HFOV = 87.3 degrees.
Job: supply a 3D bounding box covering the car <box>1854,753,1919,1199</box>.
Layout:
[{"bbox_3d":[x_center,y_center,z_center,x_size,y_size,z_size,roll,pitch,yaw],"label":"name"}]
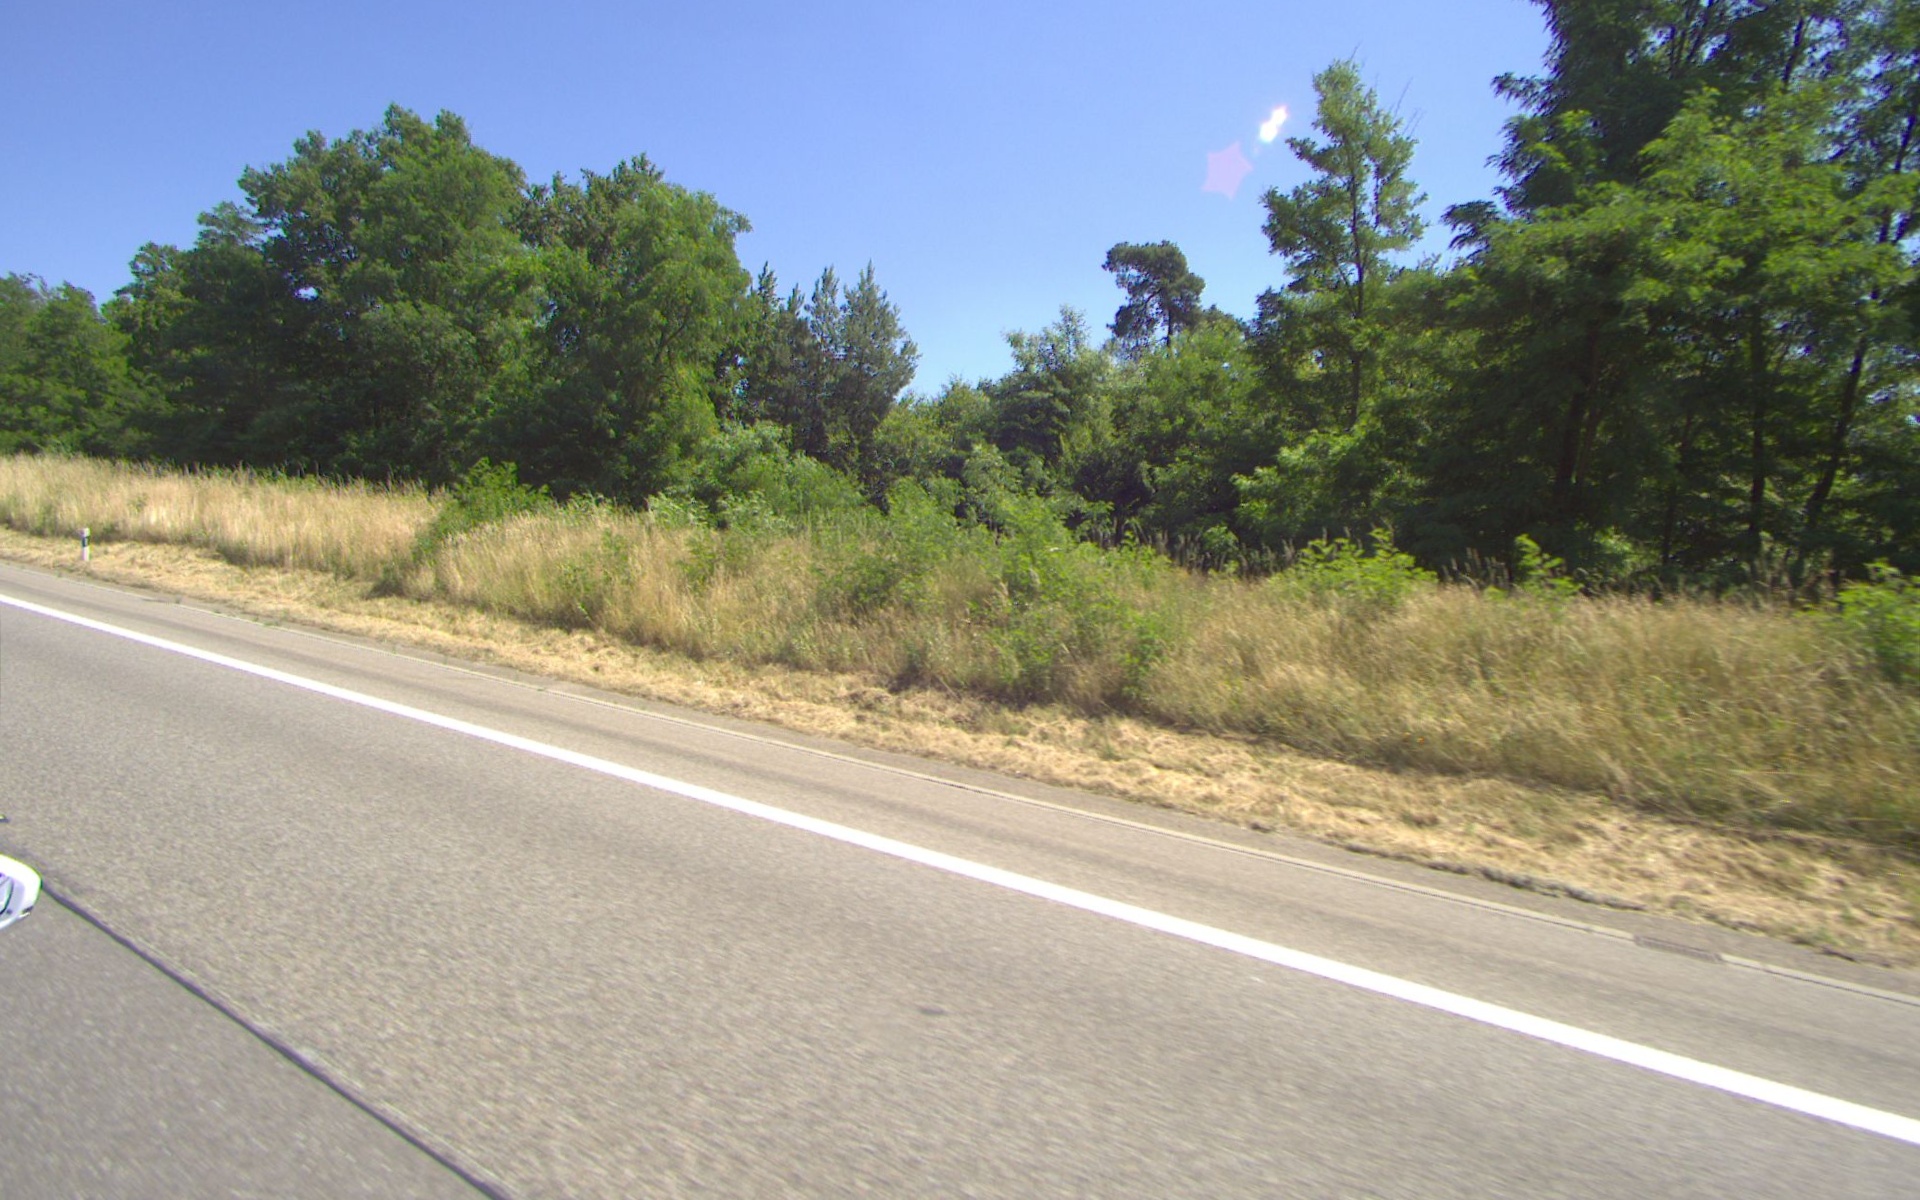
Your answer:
[{"bbox_3d":[4.328,1.346,1.646,3.915,1.483,1.748,6,-2,32],"label":"car"}]
